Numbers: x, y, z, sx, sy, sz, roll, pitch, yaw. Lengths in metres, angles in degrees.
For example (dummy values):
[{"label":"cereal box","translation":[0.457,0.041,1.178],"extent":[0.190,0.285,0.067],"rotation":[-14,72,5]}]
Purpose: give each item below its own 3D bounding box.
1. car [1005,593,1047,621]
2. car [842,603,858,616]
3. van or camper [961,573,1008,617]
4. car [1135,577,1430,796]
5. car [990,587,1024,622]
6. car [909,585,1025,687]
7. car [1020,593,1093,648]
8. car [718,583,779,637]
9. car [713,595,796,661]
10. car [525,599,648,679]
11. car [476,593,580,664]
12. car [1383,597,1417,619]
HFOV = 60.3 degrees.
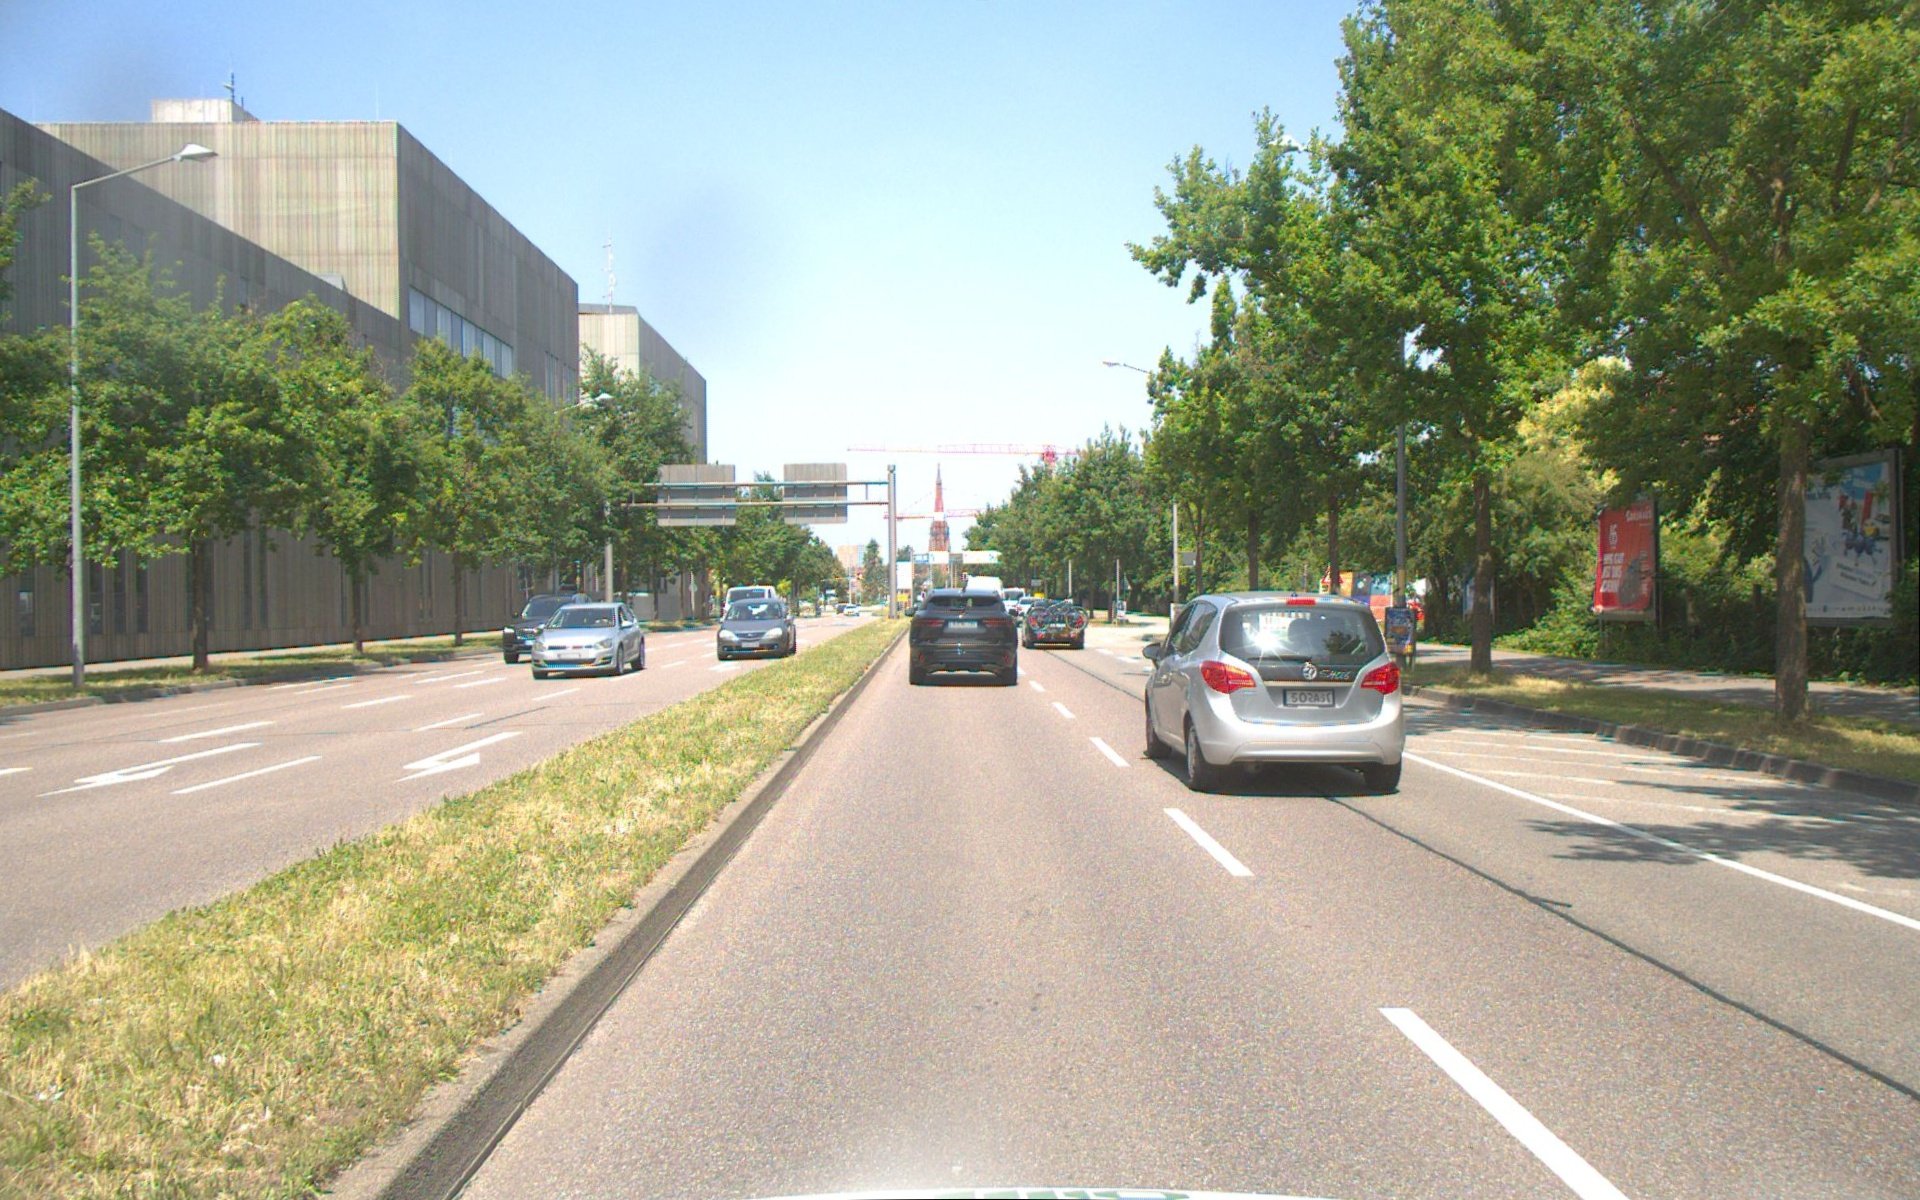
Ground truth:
[{"label":"car","translation":[3.347,0.359,84.368],"extent":[1.622,1.380,4.456],"rotation":[-1,0,-5]},{"label":"car","translation":[-13.238,1.102,199.803],"extent":[1.774,1.452,4.356],"rotation":[-2,0,-3]},{"label":"van or camper","translation":[1.317,-0.250,90.423],"extent":[2.442,2.331,4.921],"rotation":[-1,0,1]},{"label":"car","translation":[2.673,0.656,14.595],"extent":[1.756,1.640,3.890],"rotation":[-1,0,-1]},{"label":"car","translation":[2.827,0.242,100.493],"extent":[1.953,2.049,4.000],"rotation":[-1,0,0]},{"label":"car","translation":[0.136,0.600,29.902],"extent":[1.957,1.719,4.034],"rotation":[0,0,1]},{"label":"car","translation":[2.855,0.591,49.756],"extent":[1.972,1.544,4.461],"rotation":[-1,0,1]},{"label":"car","translation":[-8.498,0.377,66.774],"extent":[1.871,2.028,4.896],"rotation":[-2,0,-1]},{"label":"car","translation":[-5.087,0.663,41.375],"extent":[1.775,1.492,4.054],"rotation":[-2,0,-4]},{"label":"car","translation":[-7.692,0.752,34.381],"extent":[1.730,1.486,4.143],"rotation":[-2,0,-3]},{"label":"car","translation":[-11.764,0.746,45.312],"extent":[1.774,1.777,4.644],"rotation":[-2,0,-3]},{"label":"car","translation":[24.946,0.441,93.794],"extent":[1.350,1.208,3.305],"rotation":[-1,0,6]}]
